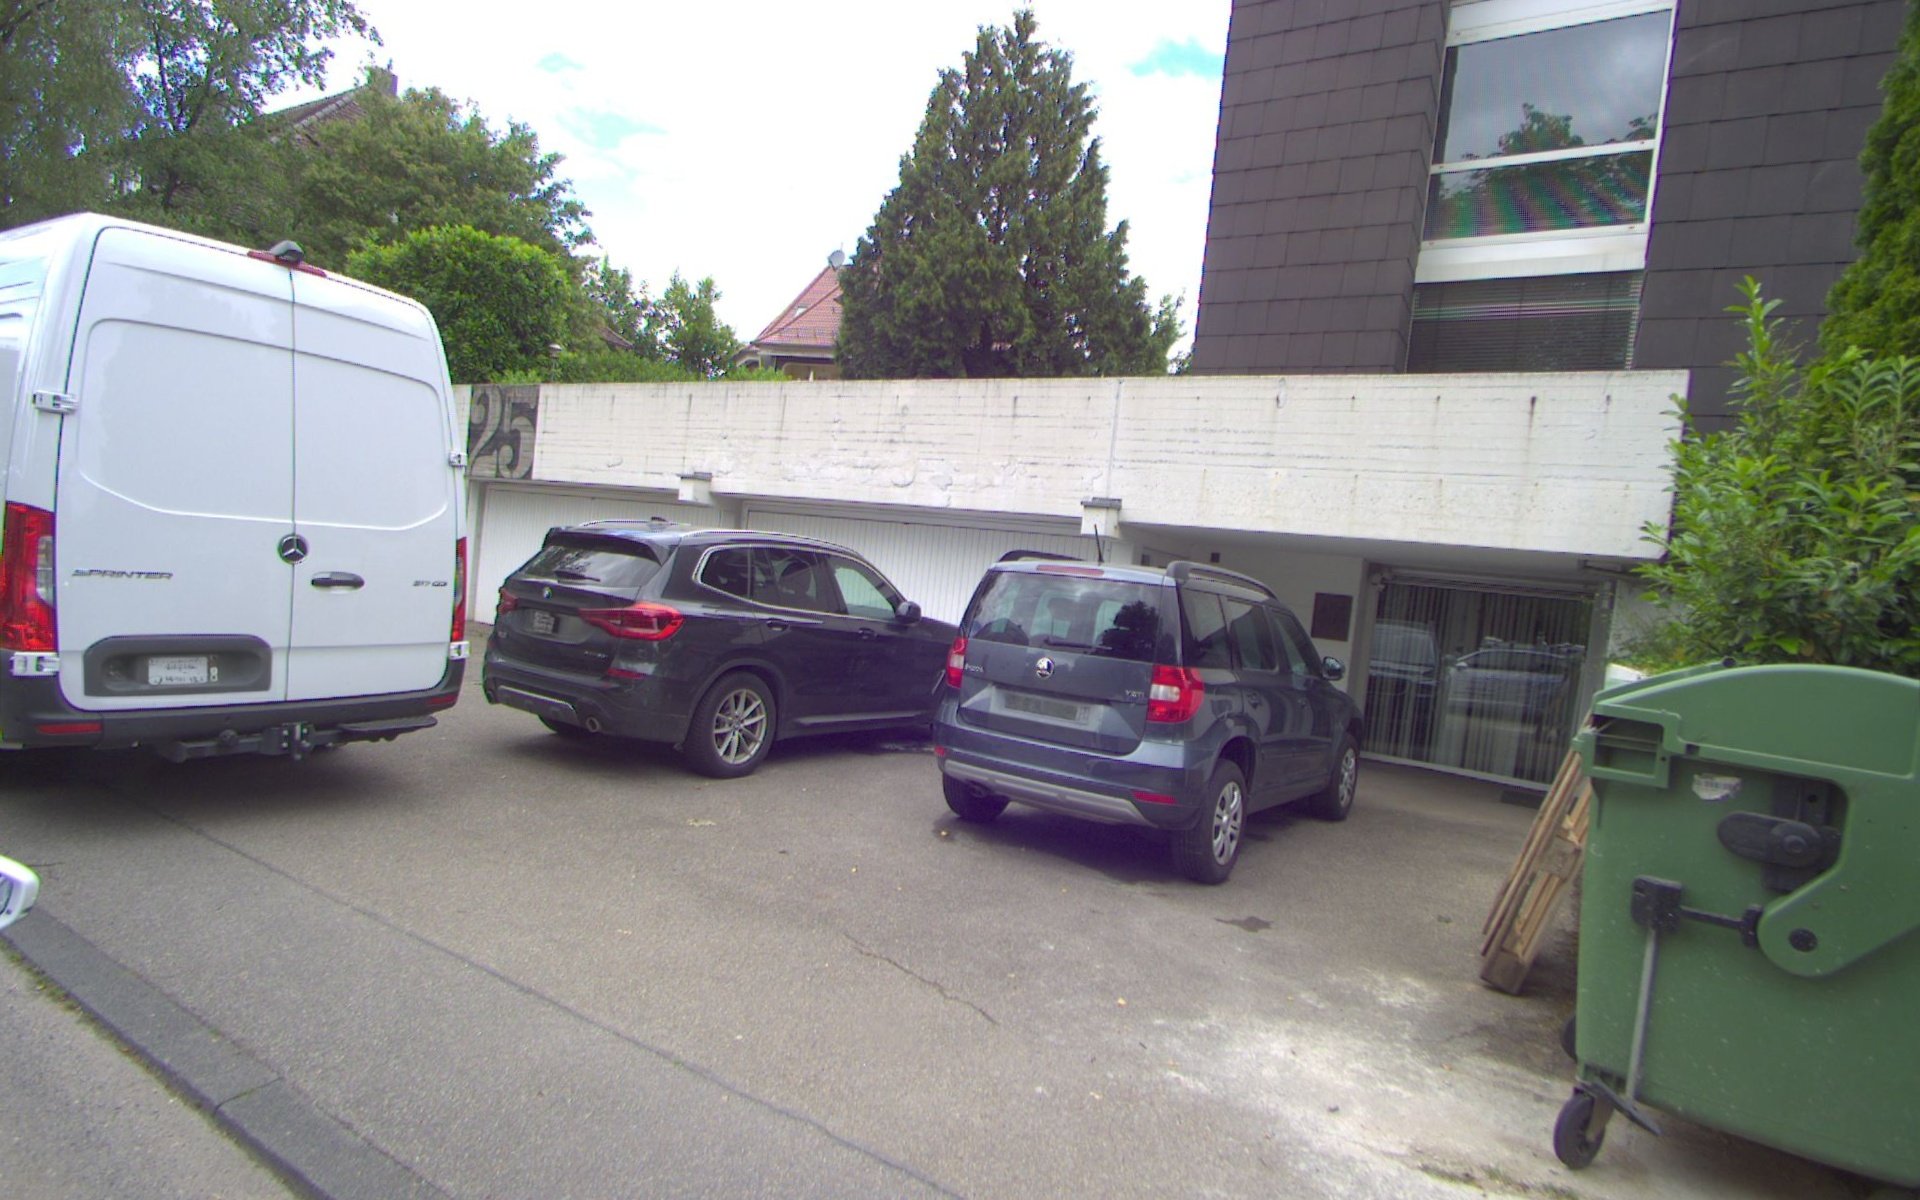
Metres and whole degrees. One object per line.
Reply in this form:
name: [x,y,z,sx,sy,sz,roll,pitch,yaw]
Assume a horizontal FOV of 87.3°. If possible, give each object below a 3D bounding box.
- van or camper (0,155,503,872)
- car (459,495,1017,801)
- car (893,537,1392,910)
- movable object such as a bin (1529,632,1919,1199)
van or camper: [-5.758,-0.580,6.284,6.436,2.662,1.990,6,4,32]
car: [-1.391,0.321,8.042,1.668,1.696,4.383,6,1,32]
car: [1.499,0.642,6.802,1.717,1.673,3.899,6,1,35]
movable object such as a bin: [2.424,0.904,2.983,1.098,1.469,1.405,6,1,32]
